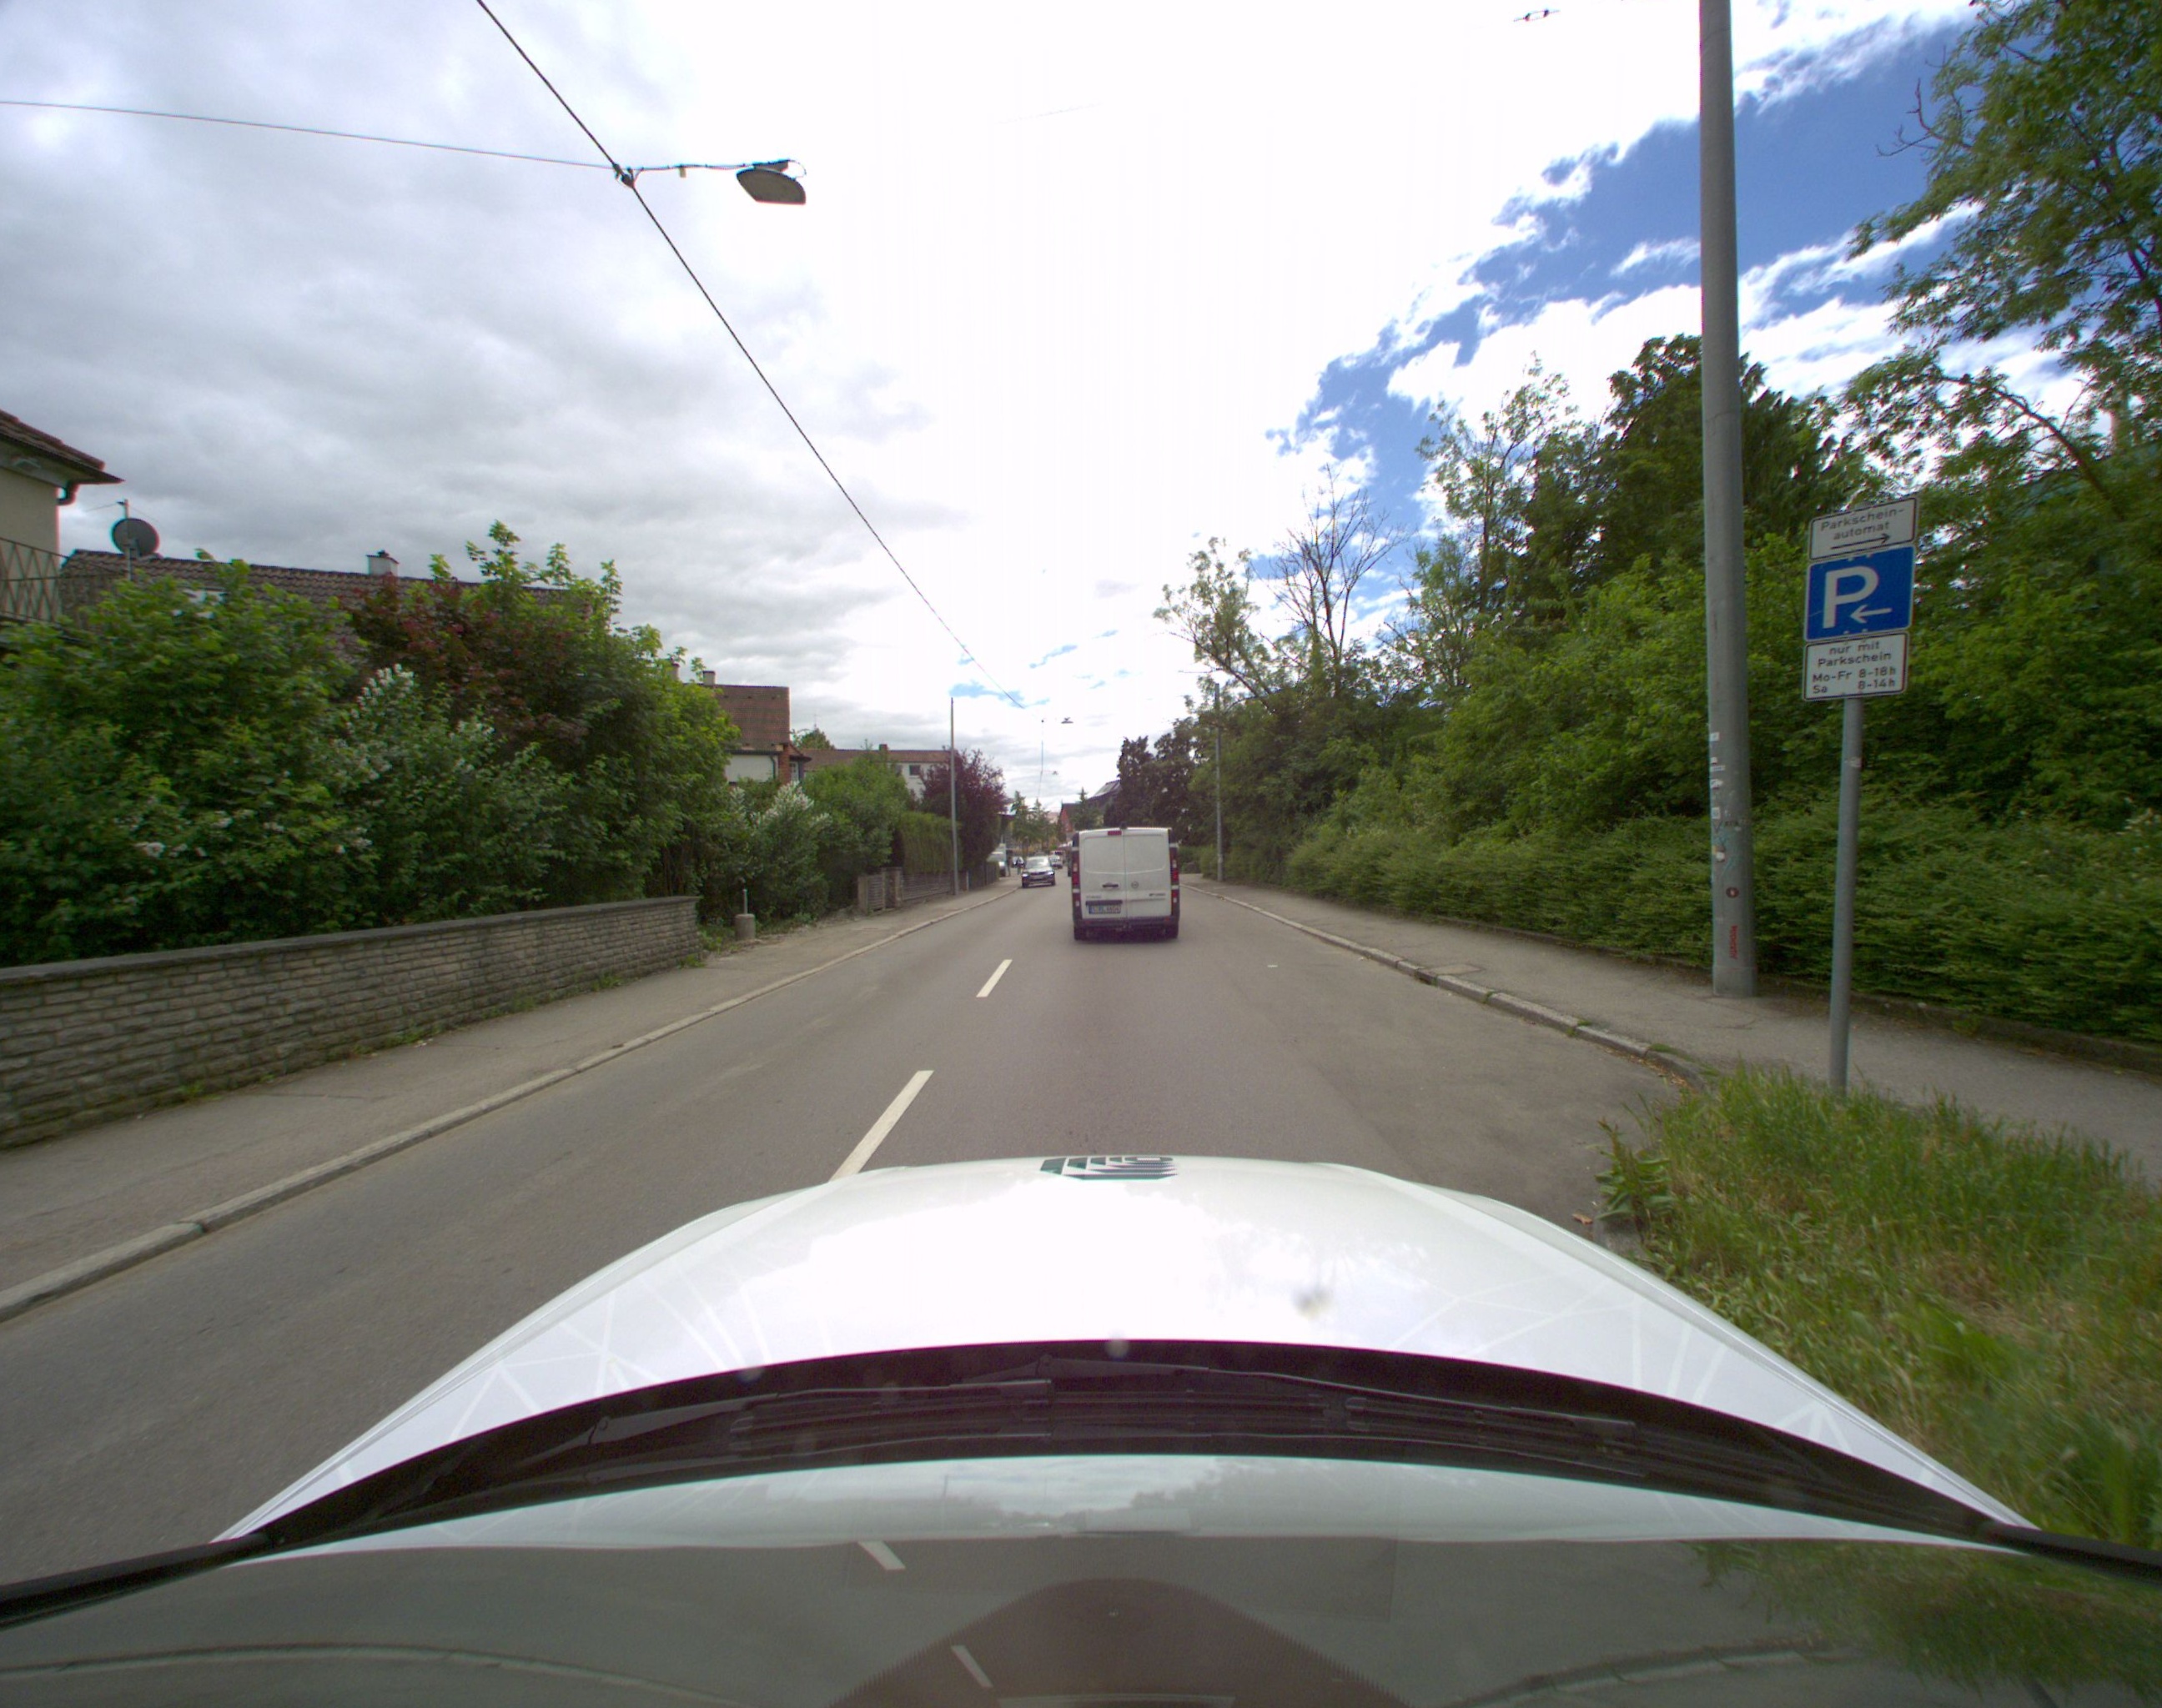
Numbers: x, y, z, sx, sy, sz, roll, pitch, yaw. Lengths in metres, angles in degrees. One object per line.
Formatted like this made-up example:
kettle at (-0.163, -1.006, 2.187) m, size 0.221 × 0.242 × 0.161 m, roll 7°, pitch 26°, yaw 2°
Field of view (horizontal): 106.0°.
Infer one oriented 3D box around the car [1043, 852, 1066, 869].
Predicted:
car at (-3.101, 0.785, 95.559) m, size 1.995 × 1.782 × 3.984 m, roll -4°, pitch 0°, yaw -12°

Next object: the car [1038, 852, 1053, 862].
car at (-5.538, 0.516, 127.177) m, size 1.744 × 1.494 × 3.637 m, roll 0°, pitch -1°, yaw -14°

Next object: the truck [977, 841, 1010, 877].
truck at (-7.441, 0.410, 68.811) m, size 2.472 × 2.840 × 6.688 m, roll -2°, pitch 0°, yaw -8°

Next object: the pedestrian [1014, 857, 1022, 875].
pedestrian at (-6.037, 1.126, 77.926) m, size 0.721 × 1.687 × 1.108 m, roll 0°, pitch -1°, yaw -3°

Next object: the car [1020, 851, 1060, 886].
car at (-2.188, 0.787, 44.541) m, size 1.835 × 1.655 × 4.137 m, roll -5°, pitch 0°, yaw 0°

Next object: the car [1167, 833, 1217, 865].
car at (9.590, -0.386, 70.922) m, size 2.502 × 2.682 × 5.160 m, roll 0°, pitch -1°, yaw -15°

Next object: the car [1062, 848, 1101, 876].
car at (0.007, 0.591, 59.898) m, size 1.995 × 1.848 × 3.984 m, roll -3°, pitch 0°, yaw -12°

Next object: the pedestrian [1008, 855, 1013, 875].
pedestrian at (-5.998, 0.970, 69.311) m, size 0.401 × 1.695 × 0.595 m, roll 0°, pitch -1°, yaw -9°

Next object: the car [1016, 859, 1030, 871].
car at (-7.973, 1.472, 112.433) m, size 1.690 × 1.432 × 3.923 m, roll -5°, pitch 0°, yaw -3°

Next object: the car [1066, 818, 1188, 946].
car at (0.827, 0.475, 15.666) m, size 1.908 × 2.002 × 4.439 m, roll -3°, pitch 0°, yaw 2°
